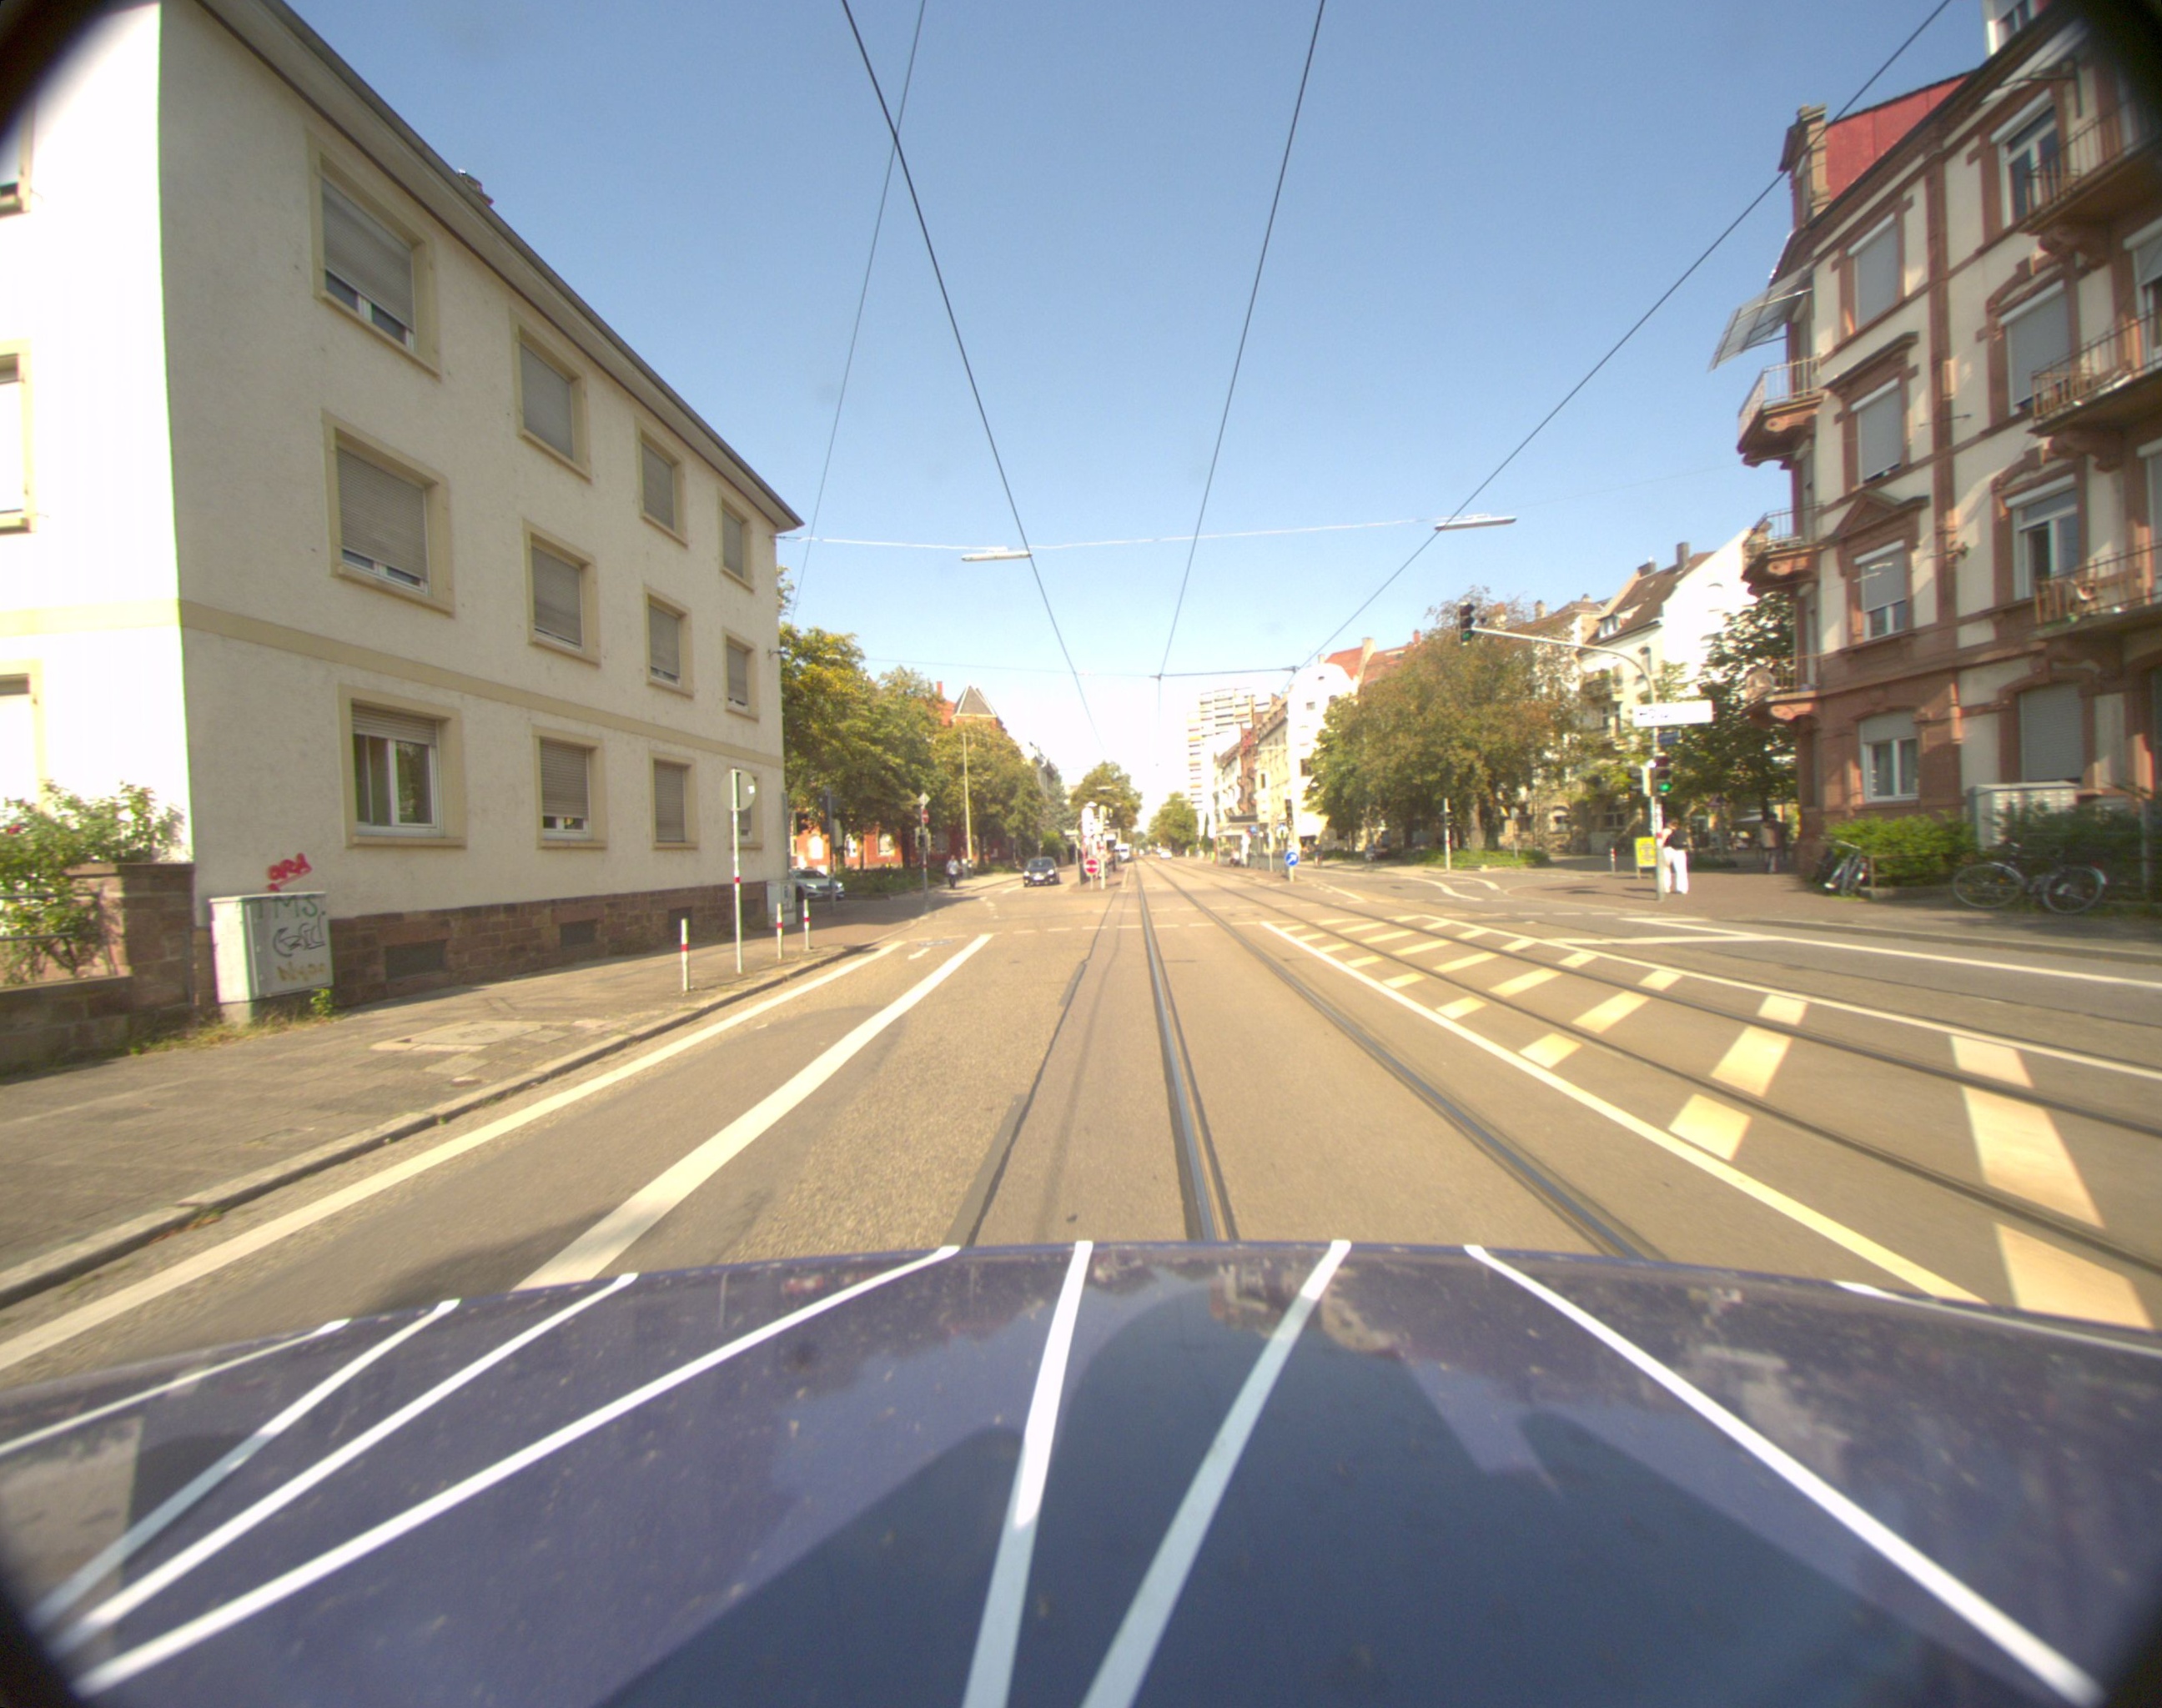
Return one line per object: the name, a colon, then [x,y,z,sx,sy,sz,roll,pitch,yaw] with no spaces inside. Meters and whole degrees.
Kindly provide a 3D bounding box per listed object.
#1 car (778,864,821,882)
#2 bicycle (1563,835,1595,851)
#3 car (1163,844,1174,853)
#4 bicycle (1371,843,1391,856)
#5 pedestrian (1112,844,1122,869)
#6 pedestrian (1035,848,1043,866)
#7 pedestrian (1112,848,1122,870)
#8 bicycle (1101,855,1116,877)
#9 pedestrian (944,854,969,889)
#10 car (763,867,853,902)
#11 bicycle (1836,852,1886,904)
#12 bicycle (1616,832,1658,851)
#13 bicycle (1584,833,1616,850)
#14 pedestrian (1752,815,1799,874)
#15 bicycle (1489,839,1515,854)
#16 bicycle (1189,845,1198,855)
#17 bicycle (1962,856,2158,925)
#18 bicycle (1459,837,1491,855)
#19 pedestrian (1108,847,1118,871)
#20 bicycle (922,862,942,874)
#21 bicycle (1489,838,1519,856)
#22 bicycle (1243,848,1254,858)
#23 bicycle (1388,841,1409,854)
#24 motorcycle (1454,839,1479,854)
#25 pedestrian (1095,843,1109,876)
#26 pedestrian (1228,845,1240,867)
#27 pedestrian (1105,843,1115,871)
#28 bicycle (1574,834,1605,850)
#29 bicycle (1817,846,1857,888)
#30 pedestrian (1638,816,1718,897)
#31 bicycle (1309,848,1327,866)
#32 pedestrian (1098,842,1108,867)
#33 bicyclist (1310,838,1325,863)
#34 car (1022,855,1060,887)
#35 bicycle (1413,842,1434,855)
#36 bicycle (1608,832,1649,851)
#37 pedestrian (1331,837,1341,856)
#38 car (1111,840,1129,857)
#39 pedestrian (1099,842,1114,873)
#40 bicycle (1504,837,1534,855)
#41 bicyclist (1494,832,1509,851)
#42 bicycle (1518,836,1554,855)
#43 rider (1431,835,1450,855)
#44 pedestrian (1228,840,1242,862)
car: [-27.973,1.876,75.442,3.990,1.558,1.624,-3,0,25]
bicycle: [35.404,-0.775,54.087,0.773,1.097,2.333,-3,0,2]
car: [14.957,-0.921,130.191,1.732,1.426,3.922,-3,0,4]
bicycle: [28.383,-0.444,71.890,2.345,1.073,0.695,-4,2,-38]
pedestrian: [2.597,0.184,54.641,0.590,1.711,0.607,-2,1,6]
pedestrian: [-3.967,0.273,71.736,0.542,1.708,0.662,-2,1,20]
pedestrian: [2.572,0.355,53.997,0.590,1.535,0.607,-2,1,6]
bicycle: [1.506,0.626,41.106,0.473,1.097,1.739,-2,0,12]
pedestrian: [-6.296,0.860,38.436,1.079,1.715,0.969,1,1,3]
car: [-12.348,1.339,34.183,4.940,1.460,1.880,-2,-2,45]
bicycle: [14.670,0.431,14.312,0.526,0.855,1.831,-2,0,42]
bicycle: [35.863,-0.811,49.019,2.089,1.097,0.657,-3,1,12]
bicycle: [36.934,-0.877,54.087,0.656,1.097,2.333,-3,0,2]
pedestrian: [19.020,-0.270,20.837,0.840,1.562,0.947,-2,1,38]
bicycle: [31.081,-0.560,56.112,0.655,1.097,2.071,-3,0,-4]
bicycle: [22.026,-0.854,149.464,1.015,1.847,3.555,-4,1,-2]
bicycle: [13.624,0.472,10.665,0.527,0.855,1.829,-3,0,7]
bicycle: [33.455,-0.668,64.528,2.303,1.363,0.867,-2,1,-7]
pedestrian: [2.367,0.345,56.071,0.638,1.738,0.634,-2,1,6]
bicycle: [-14.556,1.354,74.350,1.843,1.052,0.607,-4,-1,-45]
bicycle: [34.351,-0.582,61.713,2.306,1.363,0.866,-3,1,-25]
bicycle: [19.899,-0.104,90.121,0.545,1.097,1.895,-3,0,-9]
bicycle: [29.648,-0.602,70.926,2.346,1.073,0.695,-3,1,-38]
motorcycle: [33.198,-0.678,65.424,1.884,1.170,0.677,-4,1,-11]
pedestrian: [1.131,0.282,41.221,0.691,1.756,0.796,-3,1,3]
pedestrian: [10.578,0.126,52.520,0.678,1.448,0.718,-2,1,5]
pedestrian: [1.834,0.201,48.614,0.553,1.750,0.533,-3,1,3]
bicycle: [36.165,-0.830,54.076,0.656,1.097,2.333,-3,0,2]
bicycle: [16.864,0.276,16.969,0.526,0.855,1.831,-2,0,42]
pedestrian: [13.658,0.058,17.422,0.906,1.756,1.186,-3,1,7]
bicycle: [15.412,0.172,49.541,0.685,1.097,2.070,-3,0,6]
pedestrian: [1.654,0.042,56.742,0.638,1.837,0.634,-2,1,6]
bicyclist: [15.388,-0.229,49.477,0.674,1.605,1.045,-3,1,6]
car: [-2.033,0.842,39.547,1.775,1.459,3.999,-3,0,-2]
bicycle: [30.787,-0.525,68.290,2.346,1.073,0.695,-3,1,-38]
bicycle: [36.110,-0.825,50.155,2.089,1.097,0.657,-3,1,12]
pedestrian: [26.019,-0.742,77.494,0.735,1.857,0.673,-2,1,0]
car: [5.542,-0.787,106.735,2.086,2.264,4.829,-3,0,7]
pedestrian: [1.517,0.195,44.535,0.769,1.750,0.680,-3,1,3]
bicycle: [34.896,-0.631,60.504,2.306,1.363,0.866,-3,1,-25]
bicyclist: [31.062,-0.917,56.119,0.655,1.352,0.758,-3,1,-4]
bicycle: [35.300,-0.667,58.993,2.303,1.363,0.867,-2,1,-8]
rider: [28.503,-0.716,60.289,0.996,1.503,1.115,-3,1,8]
pedestrian: [10.452,-0.171,51.427,0.794,1.448,0.718,-2,1,5]
